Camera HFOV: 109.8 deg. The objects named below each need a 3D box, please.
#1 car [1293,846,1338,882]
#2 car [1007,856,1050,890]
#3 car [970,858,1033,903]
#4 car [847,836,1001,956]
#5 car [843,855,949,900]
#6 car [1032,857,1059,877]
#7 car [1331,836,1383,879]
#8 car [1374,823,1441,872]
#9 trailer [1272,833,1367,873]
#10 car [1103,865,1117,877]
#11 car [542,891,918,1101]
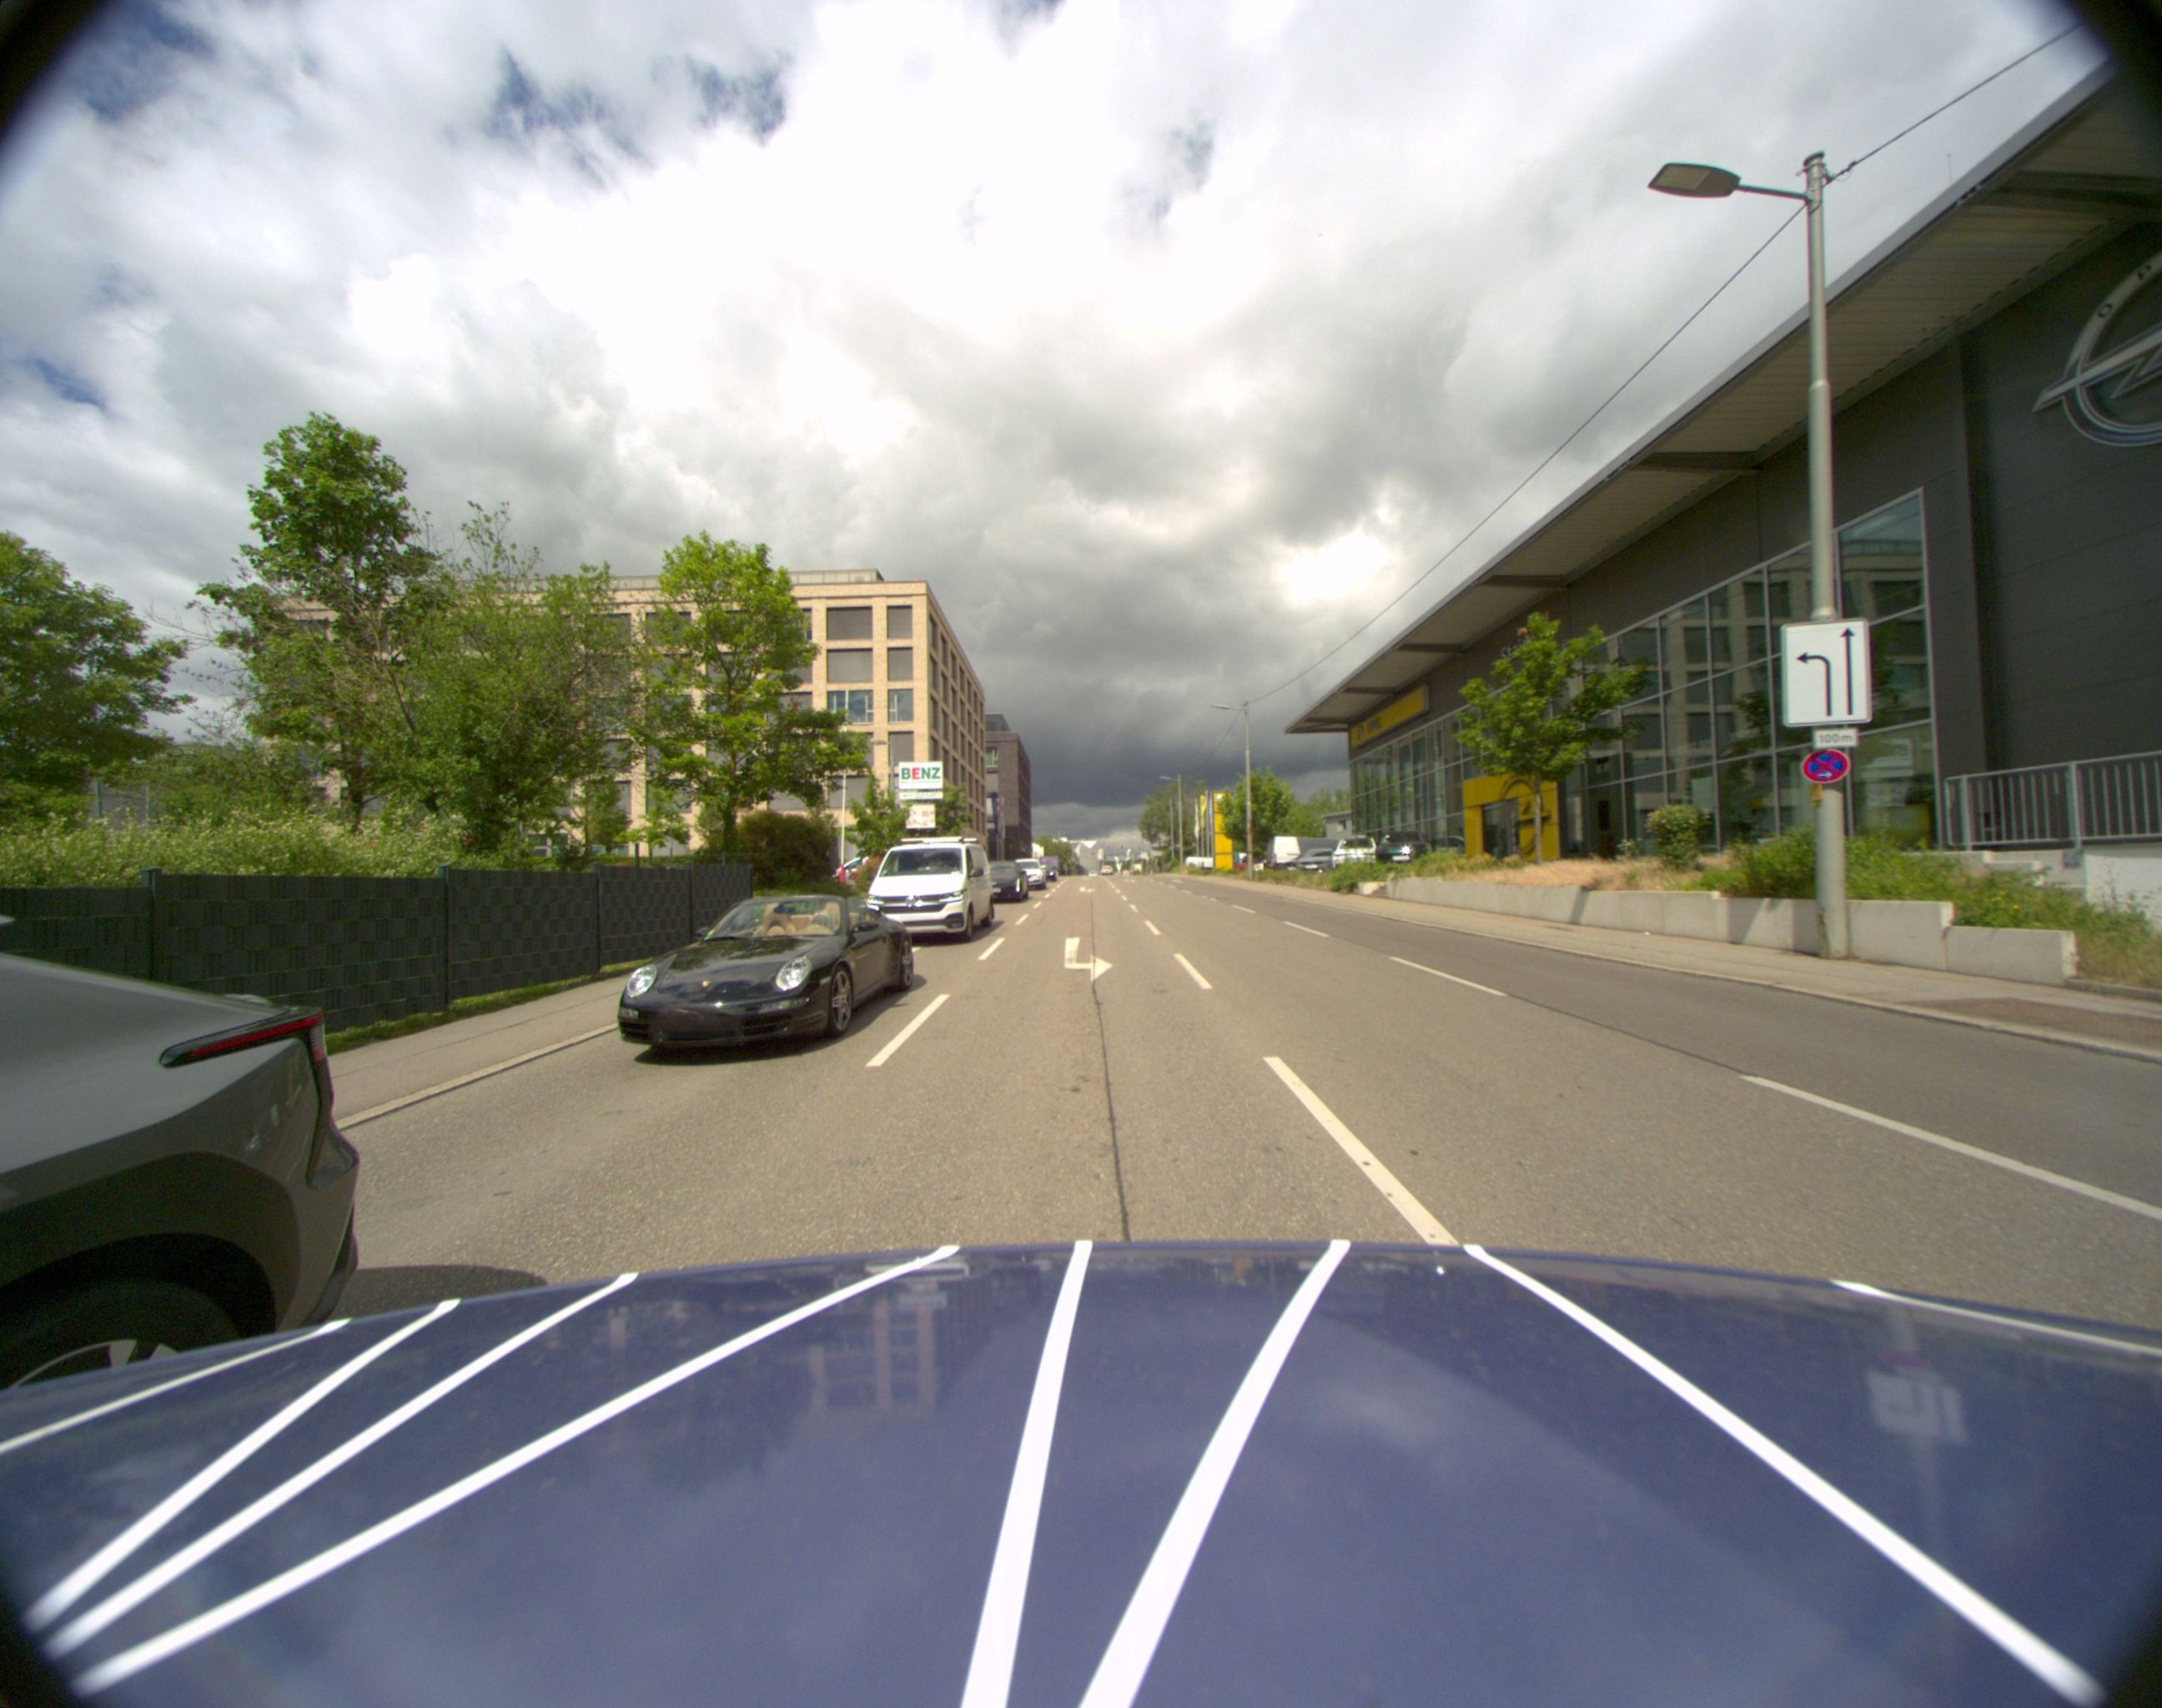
[{"bbox_3d":[12.090,0.473,39.018,1.995,1.783,4.006,-1,0,21],"label":"car"},{"bbox_3d":[-2.609,0.902,38.430,1.818,1.577,4.000,-1,0,1],"label":"car"},{"bbox_3d":[-2.844,0.918,27.889,1.818,1.454,4.000,-1,0,1],"label":"car"},{"bbox_3d":[-3.030,0.737,15.845,2.089,2.037,4.760,-2,0,1],"label":"car"},{"bbox_3d":[-7.645,0.956,31.751,3.998,1.723,1.822,-1,1,-3],"label":"car"},{"bbox_3d":[-2.503,0.902,53.867,1.662,1.351,4.000,-1,0,1],"label":"car"},{"bbox_3d":[12.152,0.133,33.444,1.995,1.783,4.006,-1,0,21],"label":"car"},{"bbox_3d":[12.321,-0.248,28.934,1.996,1.718,4.005,-1,0,18],"label":"car"},{"bbox_3d":[14.433,-0.063,46.178,5.074,2.336,2.000,-1,1,-1],"label":"trailer"},{"bbox_3d":[4.495,2.576,116.920,1.998,1.731,4.547,-2,0,1],"label":"car"},{"bbox_3d":[-3.051,1.156,7.681,1.824,1.286,4.038,-2,0,1],"label":"car"}]
